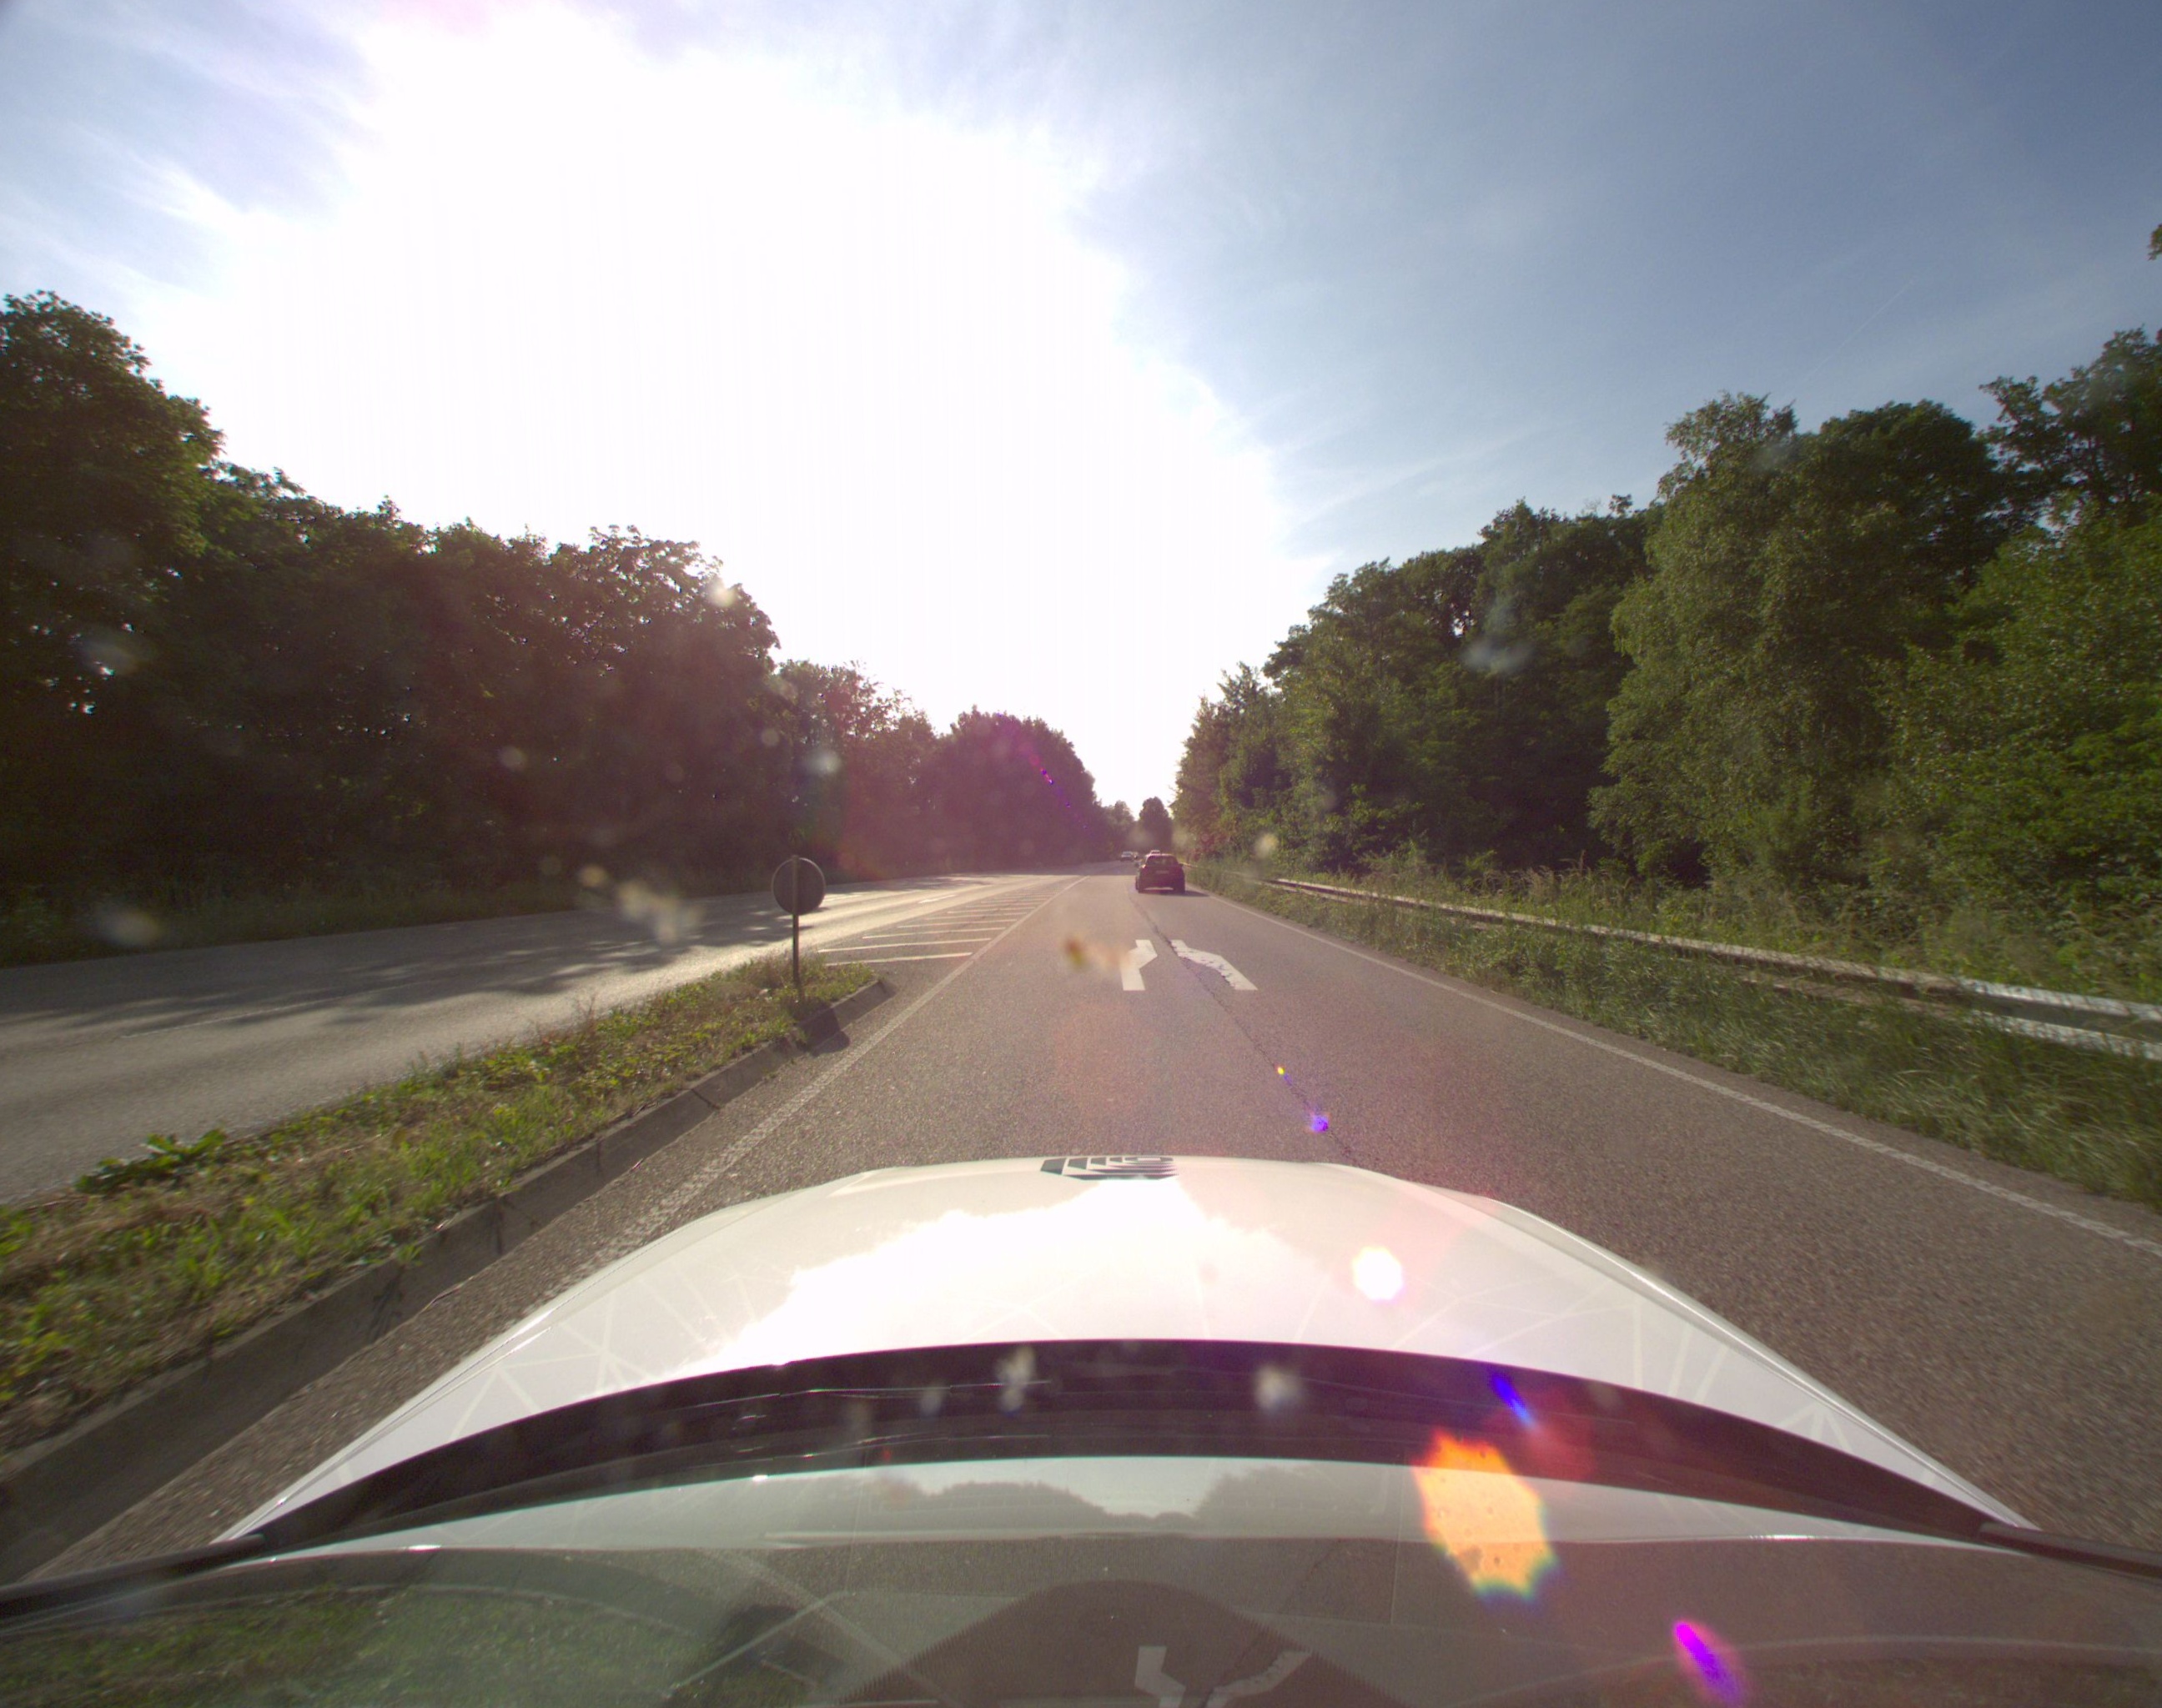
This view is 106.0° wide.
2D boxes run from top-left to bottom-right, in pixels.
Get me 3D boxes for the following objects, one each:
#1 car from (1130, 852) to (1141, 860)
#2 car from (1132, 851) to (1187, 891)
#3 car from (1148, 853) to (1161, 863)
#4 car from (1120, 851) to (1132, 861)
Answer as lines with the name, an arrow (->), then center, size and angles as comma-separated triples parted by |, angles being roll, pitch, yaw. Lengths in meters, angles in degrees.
car -> 9.087, 0.371, 136.591 | 1.754, 1.380, 3.973 | 0, -1, 2
car -> 2.973, 0.657, 31.530 | 1.813, 1.468, 3.872 | 0, -1, 0
car -> 10.910, 0.613, 120.648 | 1.754, 1.380, 3.973 | 0, -1, 2
car -> 6.807, 0.350, 122.376 | 1.754, 1.380, 3.974 | 0, -1, 3
